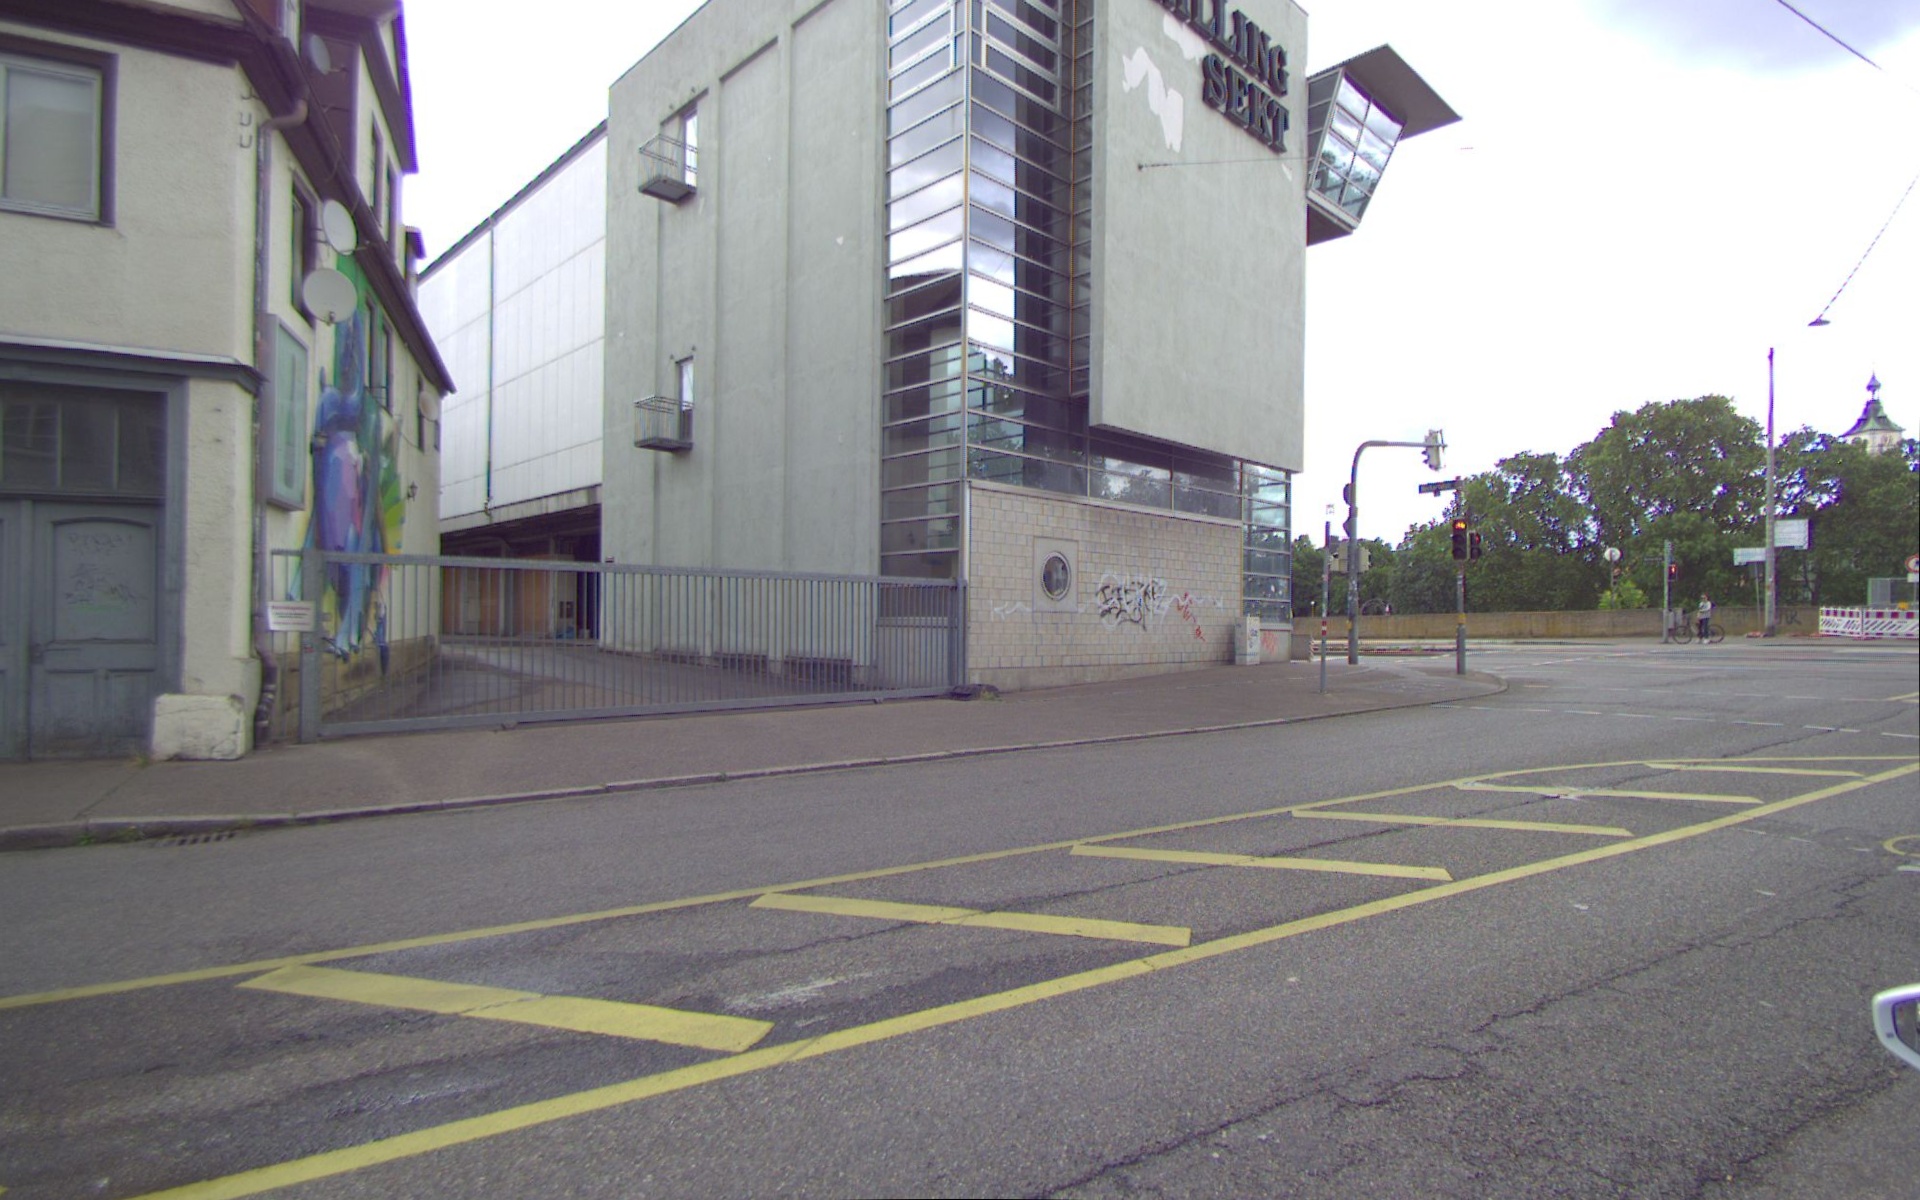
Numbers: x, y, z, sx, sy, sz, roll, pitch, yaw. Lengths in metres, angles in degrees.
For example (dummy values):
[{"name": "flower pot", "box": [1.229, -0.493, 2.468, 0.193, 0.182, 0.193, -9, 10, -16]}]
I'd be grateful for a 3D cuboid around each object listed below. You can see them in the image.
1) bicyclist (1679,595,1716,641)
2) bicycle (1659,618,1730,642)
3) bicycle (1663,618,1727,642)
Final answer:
[{"name": "bicyclist", "box": [28.605, 0.699, 38.951, 0.985, 1.767, 0.755, 0, 0, 21]}, {"name": "bicycle", "box": [28.500, 1.148, 38.994, 2.096, 0.904, 0.760, -1, 0, 21]}, {"name": "bicycle", "box": [28.436, 1.159, 38.888, 1.912, 0.878, 0.560, 0, -1, 17]}]
